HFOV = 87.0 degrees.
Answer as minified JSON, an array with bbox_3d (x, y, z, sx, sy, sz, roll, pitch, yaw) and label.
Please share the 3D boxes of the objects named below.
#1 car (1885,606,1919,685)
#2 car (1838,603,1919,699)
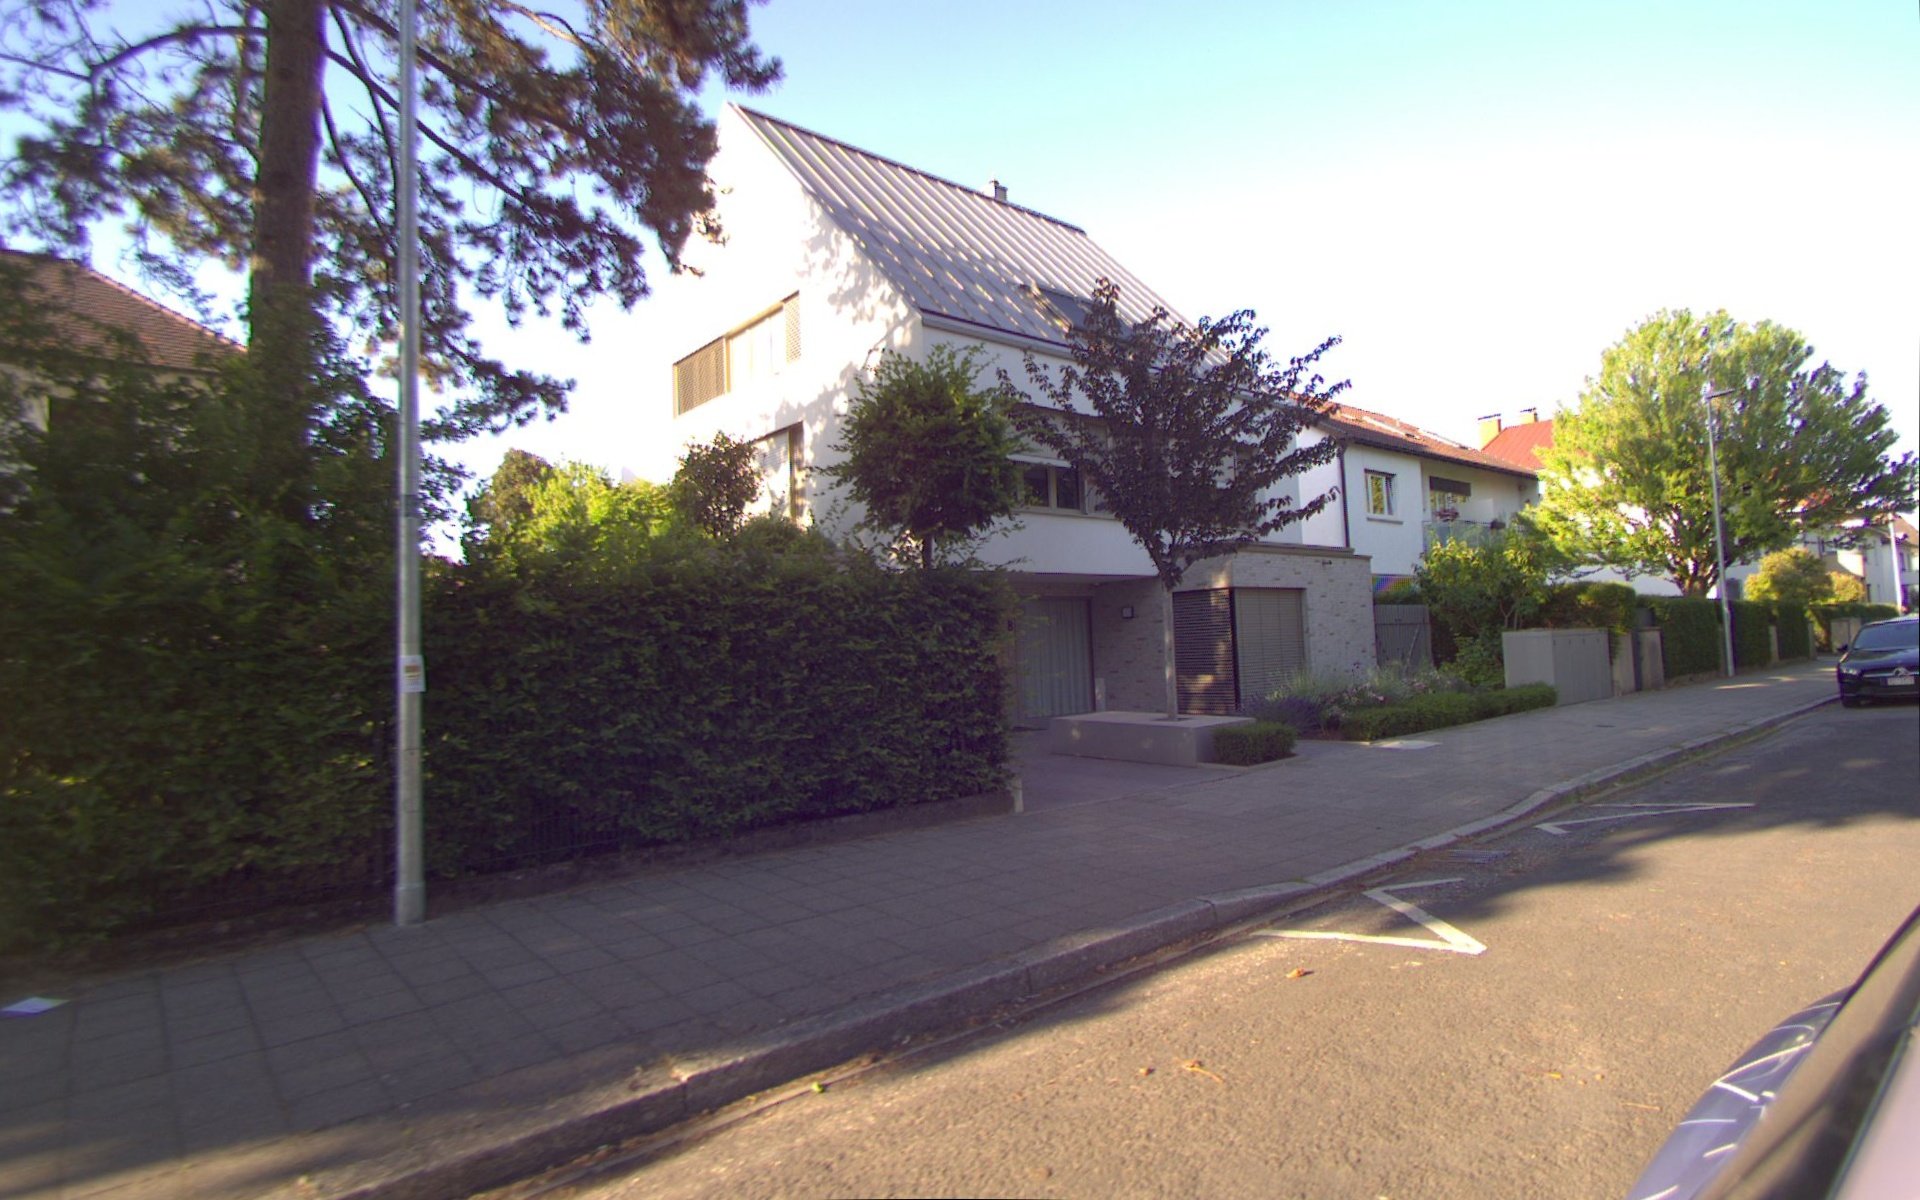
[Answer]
[{"bbox_3d":[20.683,0.819,21.081,3.865,1.503,1.691,0,-8,-45],"label":"car"},{"bbox_3d":[16.946,0.803,17.771,4.216,1.496,1.749,0,-6,-43],"label":"car"}]
